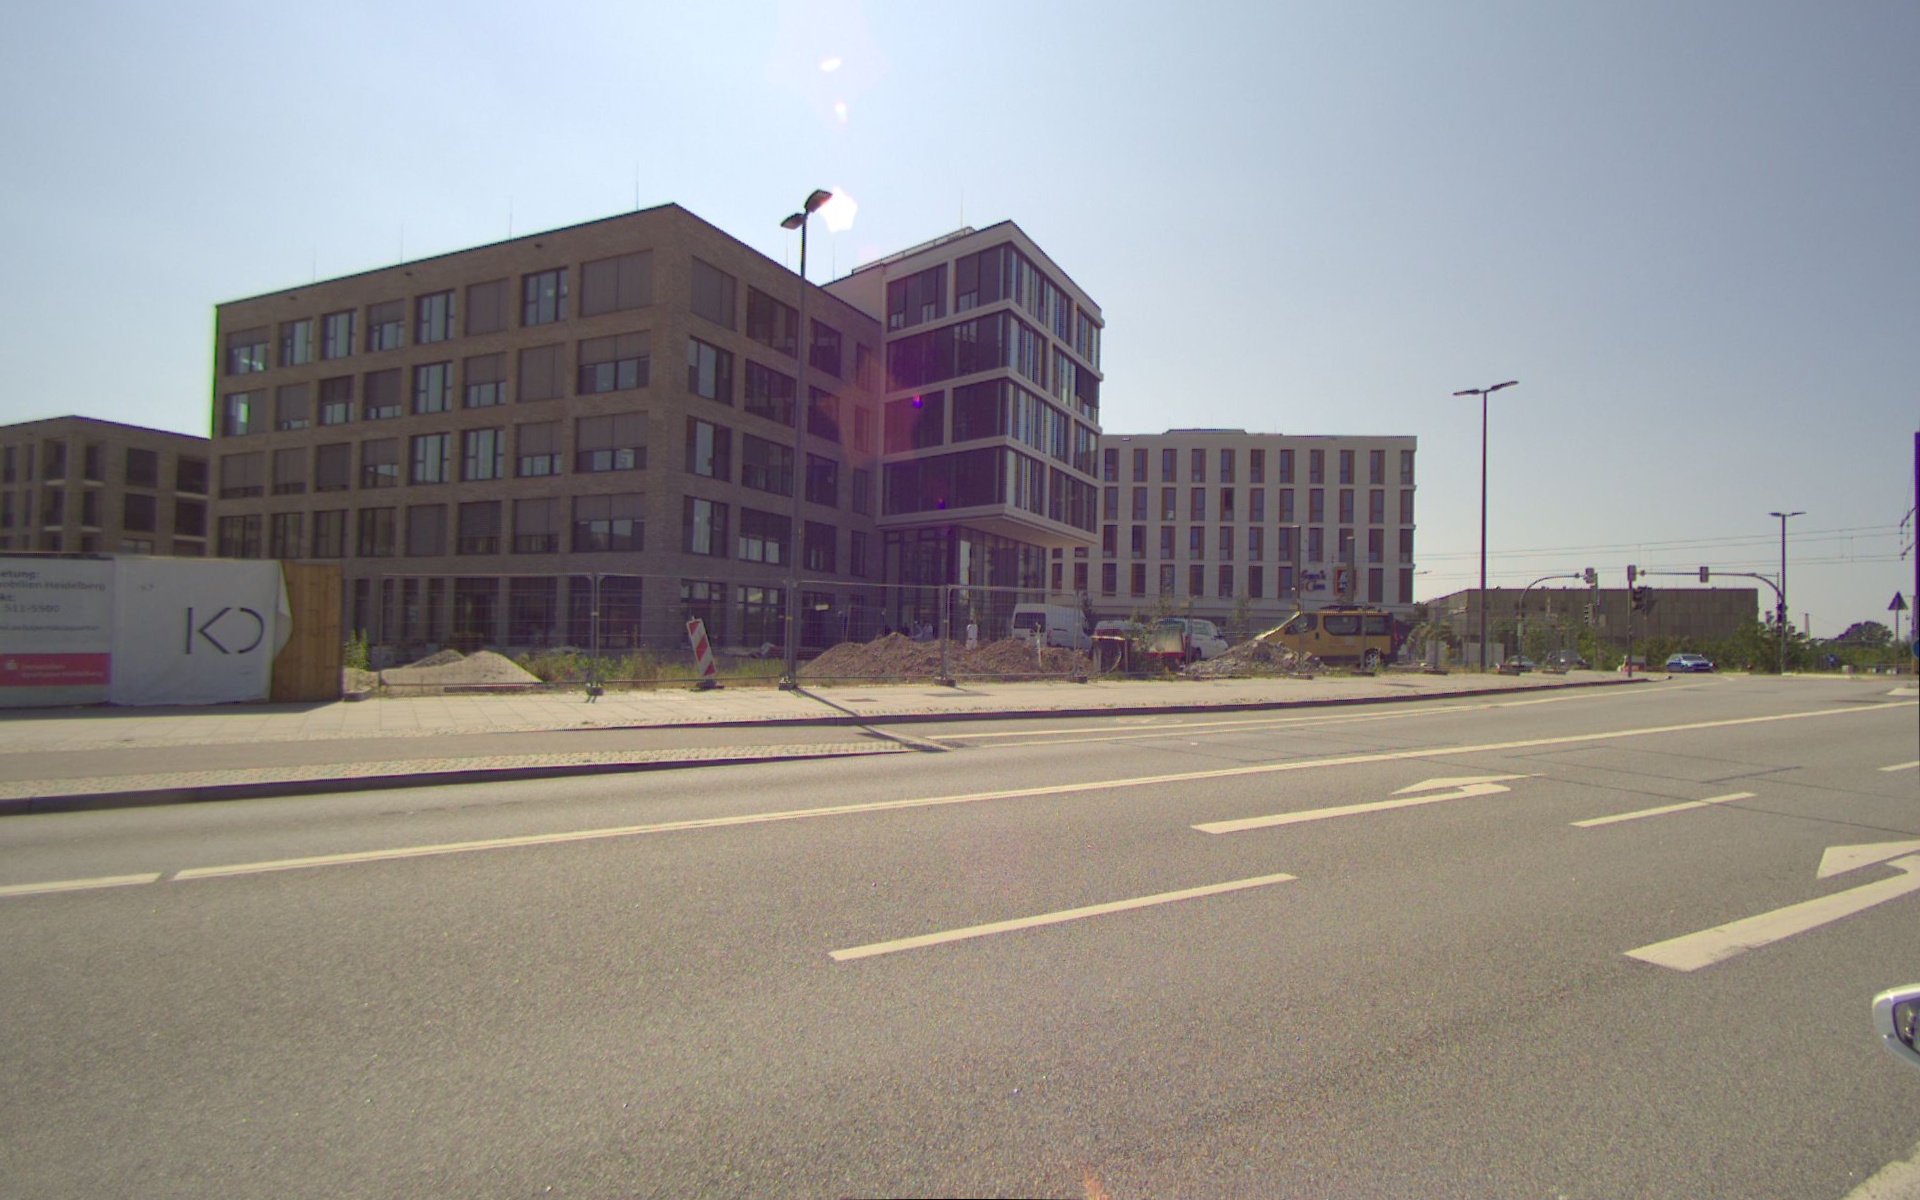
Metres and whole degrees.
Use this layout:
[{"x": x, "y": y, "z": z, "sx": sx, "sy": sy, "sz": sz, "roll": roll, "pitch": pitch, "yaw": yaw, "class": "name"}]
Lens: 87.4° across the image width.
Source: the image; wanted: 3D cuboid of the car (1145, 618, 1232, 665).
[{"x": 9.651, "y": 1.689, "z": 42.166, "sx": 1.841, "sy": 1.797, "sz": 4.637, "roll": 2, "pitch": 0, "yaw": 36, "class": "car"}]

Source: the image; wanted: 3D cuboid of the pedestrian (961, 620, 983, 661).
[{"x": 0.522, "y": 1.717, "z": 42.788, "sx": 0.734, "sy": 1.741, "sz": 0.699, "roll": 2, "pitch": 0, "yaw": 16, "class": "pedestrian"}]

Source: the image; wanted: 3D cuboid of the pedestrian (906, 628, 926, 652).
[{"x": -2.086, "y": 1.881, "z": 47.370, "sx": 0.734, "sy": 1.041, "sz": 0.699, "roll": 2, "pitch": 0, "yaw": 16, "class": "pedestrian"}]

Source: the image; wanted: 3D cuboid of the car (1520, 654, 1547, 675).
[{"x": 47.515, "y": 5.324, "z": 83.244, "sx": 1.541, "sy": 1.607, "sz": 3.478, "roll": 1, "pitch": -1, "yaw": 23, "class": "car"}]

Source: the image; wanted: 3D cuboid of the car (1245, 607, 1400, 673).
[{"x": 12.070, "y": 1.295, "z": 33.725, "sx": 4.533, "sy": 1.988, "sz": 1.991, "roll": 2, "pitch": 0, "yaw": 9, "class": "car"}]

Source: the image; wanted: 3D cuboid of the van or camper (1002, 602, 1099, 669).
[{"x": 4.136, "y": 1.553, "z": 45.102, "sx": 2.273, "sy": 2.772, "sz": 4.975, "roll": 2, "pitch": 0, "yaw": 32, "class": "van or camper"}]

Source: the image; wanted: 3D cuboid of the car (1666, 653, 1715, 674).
[{"x": 52.206, "y": 4.492, "z": 71.890, "sx": 1.787, "sy": 1.348, "sz": 4.000, "roll": 2, "pitch": -2, "yaw": 20, "class": "car"}]

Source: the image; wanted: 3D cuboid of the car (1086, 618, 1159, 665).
[{"x": 7.104, "y": 1.758, "z": 43.662, "sx": 1.759, "sy": 1.881, "sz": 3.843, "roll": 2, "pitch": 0, "yaw": 31, "class": "car"}]

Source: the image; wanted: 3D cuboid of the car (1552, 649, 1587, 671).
[{"x": 44.391, "y": 4.380, "z": 73.179, "sx": 1.646, "sy": 1.496, "sz": 3.406, "roll": 0, "pitch": -2, "yaw": 22, "class": "car"}]

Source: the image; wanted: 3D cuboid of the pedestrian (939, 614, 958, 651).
[{"x": -0.554, "y": 1.590, "z": 49.049, "sx": 0.734, "sy": 1.741, "sz": 0.699, "roll": 2, "pitch": 0, "yaw": 16, "class": "pedestrian"}]
